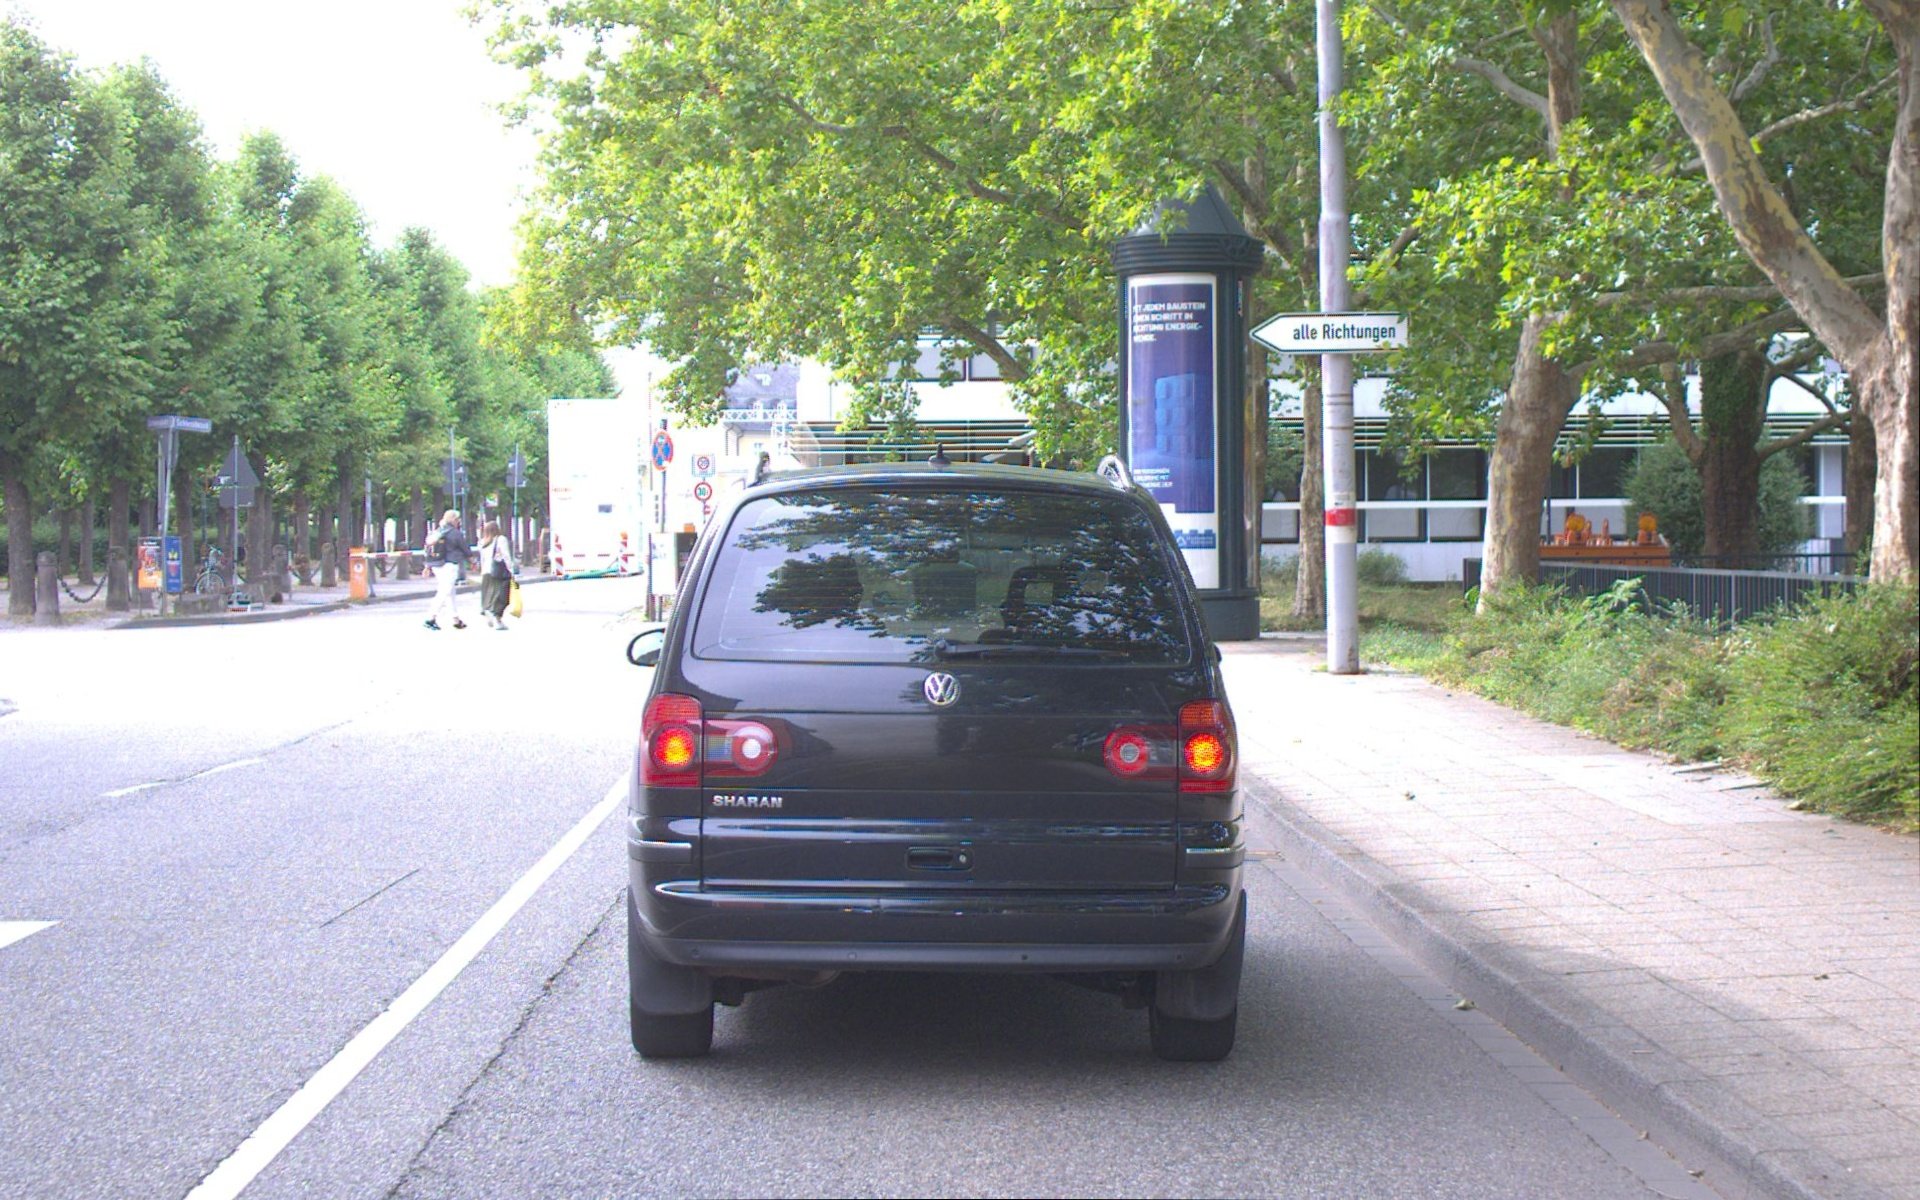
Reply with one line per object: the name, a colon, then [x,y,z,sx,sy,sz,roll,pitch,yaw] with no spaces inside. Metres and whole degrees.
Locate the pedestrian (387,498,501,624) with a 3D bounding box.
pedestrian: [-7.300,-0.558,48.651,0.962,1.735,1.253,2,2,38]

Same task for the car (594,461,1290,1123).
car: [-0.102,0.441,11.003,1.793,1.702,4.131,-1,2,-2]

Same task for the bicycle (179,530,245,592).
bicycle: [-14.371,-0.762,66.030,0.952,1.106,2.580,1,2,-19]

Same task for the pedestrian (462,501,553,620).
pedestrian: [-6.362,-0.556,48.334,0.898,1.635,0.851,2,2,34]
